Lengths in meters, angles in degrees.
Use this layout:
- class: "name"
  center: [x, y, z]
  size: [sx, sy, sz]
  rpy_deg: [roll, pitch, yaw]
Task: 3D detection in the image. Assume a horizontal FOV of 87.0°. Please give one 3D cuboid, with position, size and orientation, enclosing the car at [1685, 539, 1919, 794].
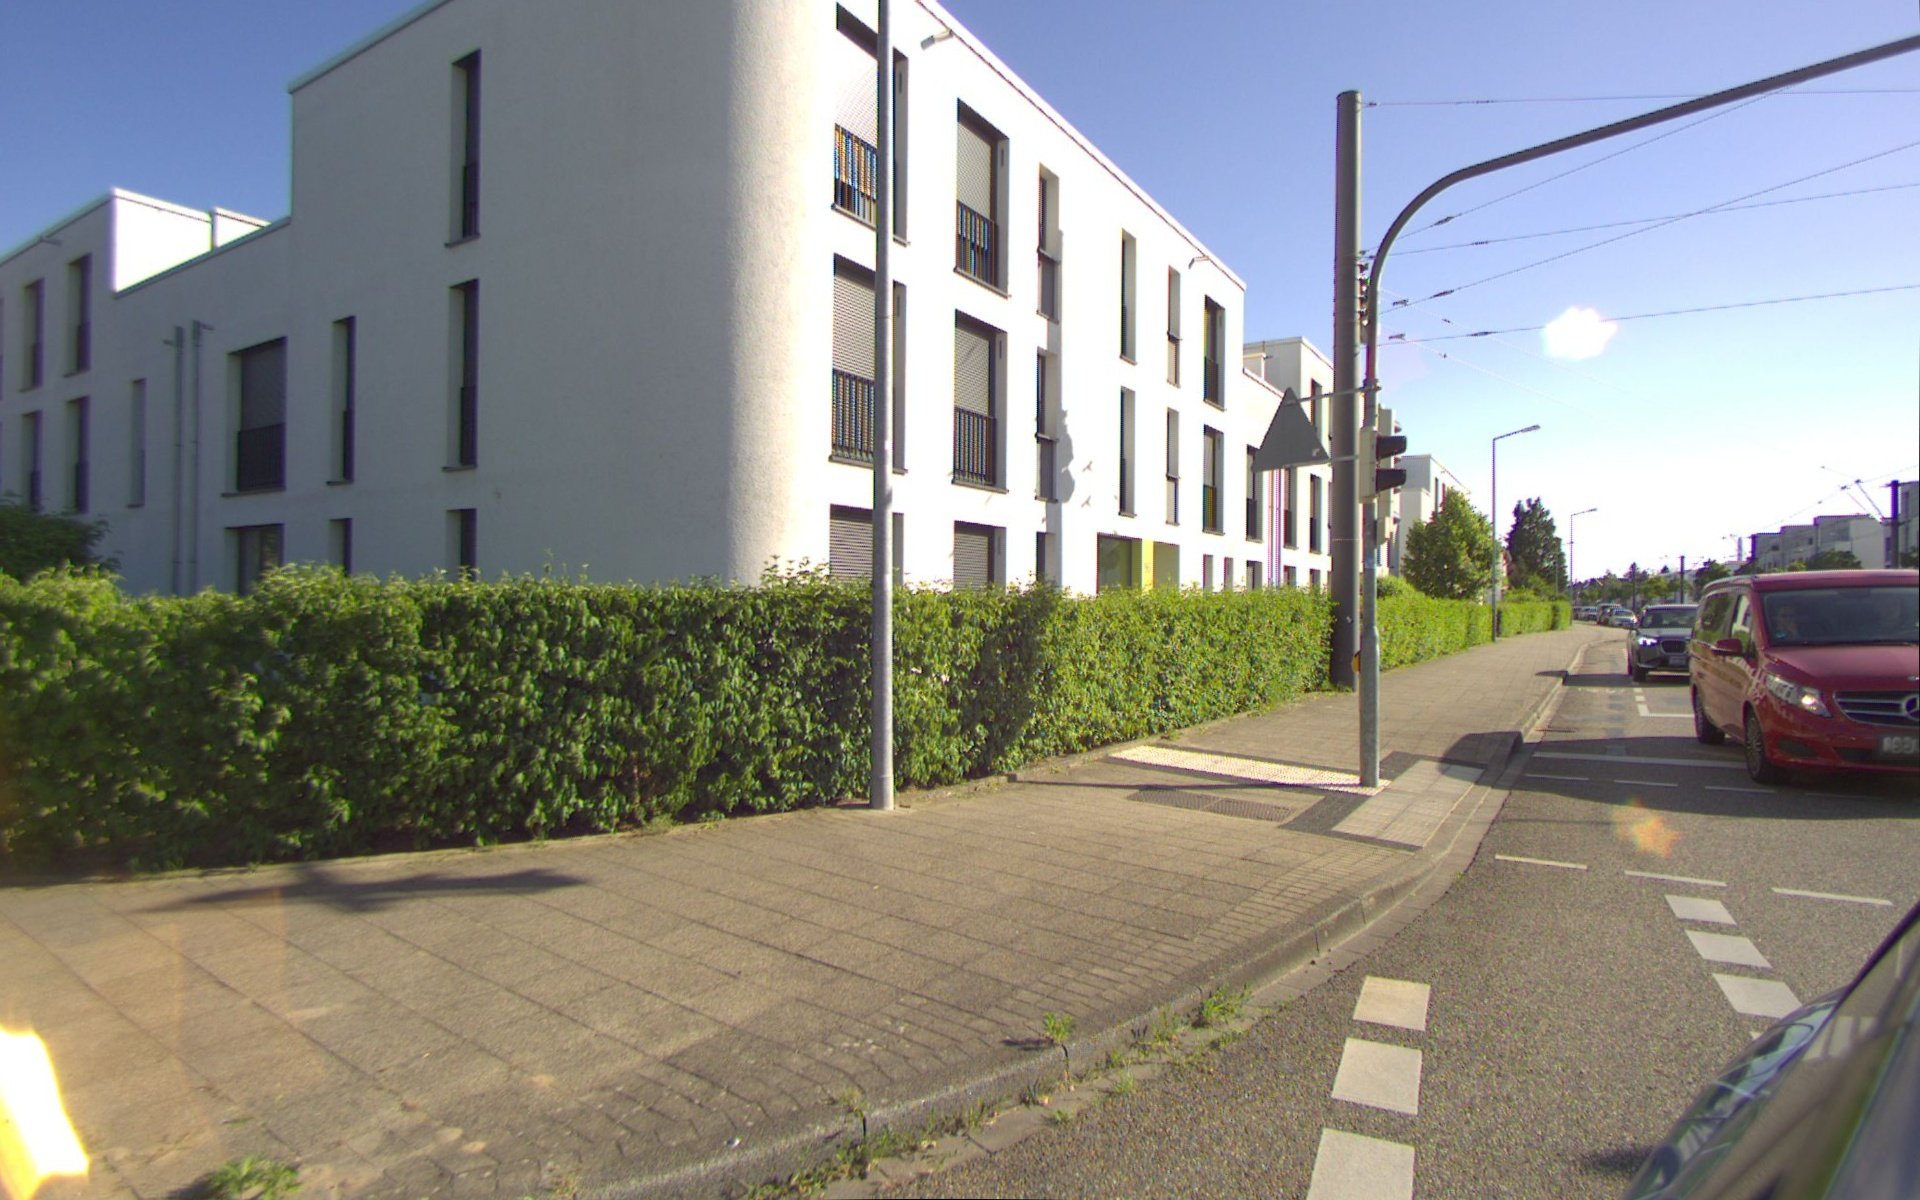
- class: "car"
  center: [8.844, 0.532, 10.043]
  size: [2.111, 1.995, 5.029]
  rpy_deg: [-2, -1, 30]

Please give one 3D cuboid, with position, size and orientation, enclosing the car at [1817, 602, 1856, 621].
- class: "car"
  center: [76.399, 0.995, 88.244]
  size: [1.851, 1.456, 3.462]
  rpy_deg: [-2, 1, 29]

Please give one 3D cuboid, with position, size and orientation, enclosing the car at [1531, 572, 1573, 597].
- class: "car"
  center: [59.728, -1.537, 102.044]
  size: [3.163, 2.376, 6.098]
  rpy_deg: [-2, -1, 35]

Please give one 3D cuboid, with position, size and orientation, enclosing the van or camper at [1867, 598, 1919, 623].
- class: "van or camper"
  center: [71.821, 0.774, 77.654]
  size: [2.257, 1.872, 6.214]
  rpy_deg: [-1, 0, 32]

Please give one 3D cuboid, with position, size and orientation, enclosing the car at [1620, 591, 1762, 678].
- class: "car"
  center: [15.806, 0.669, 22.119]
  size: [1.982, 1.694, 4.362]
  rpy_deg: [-1, 0, 30]
